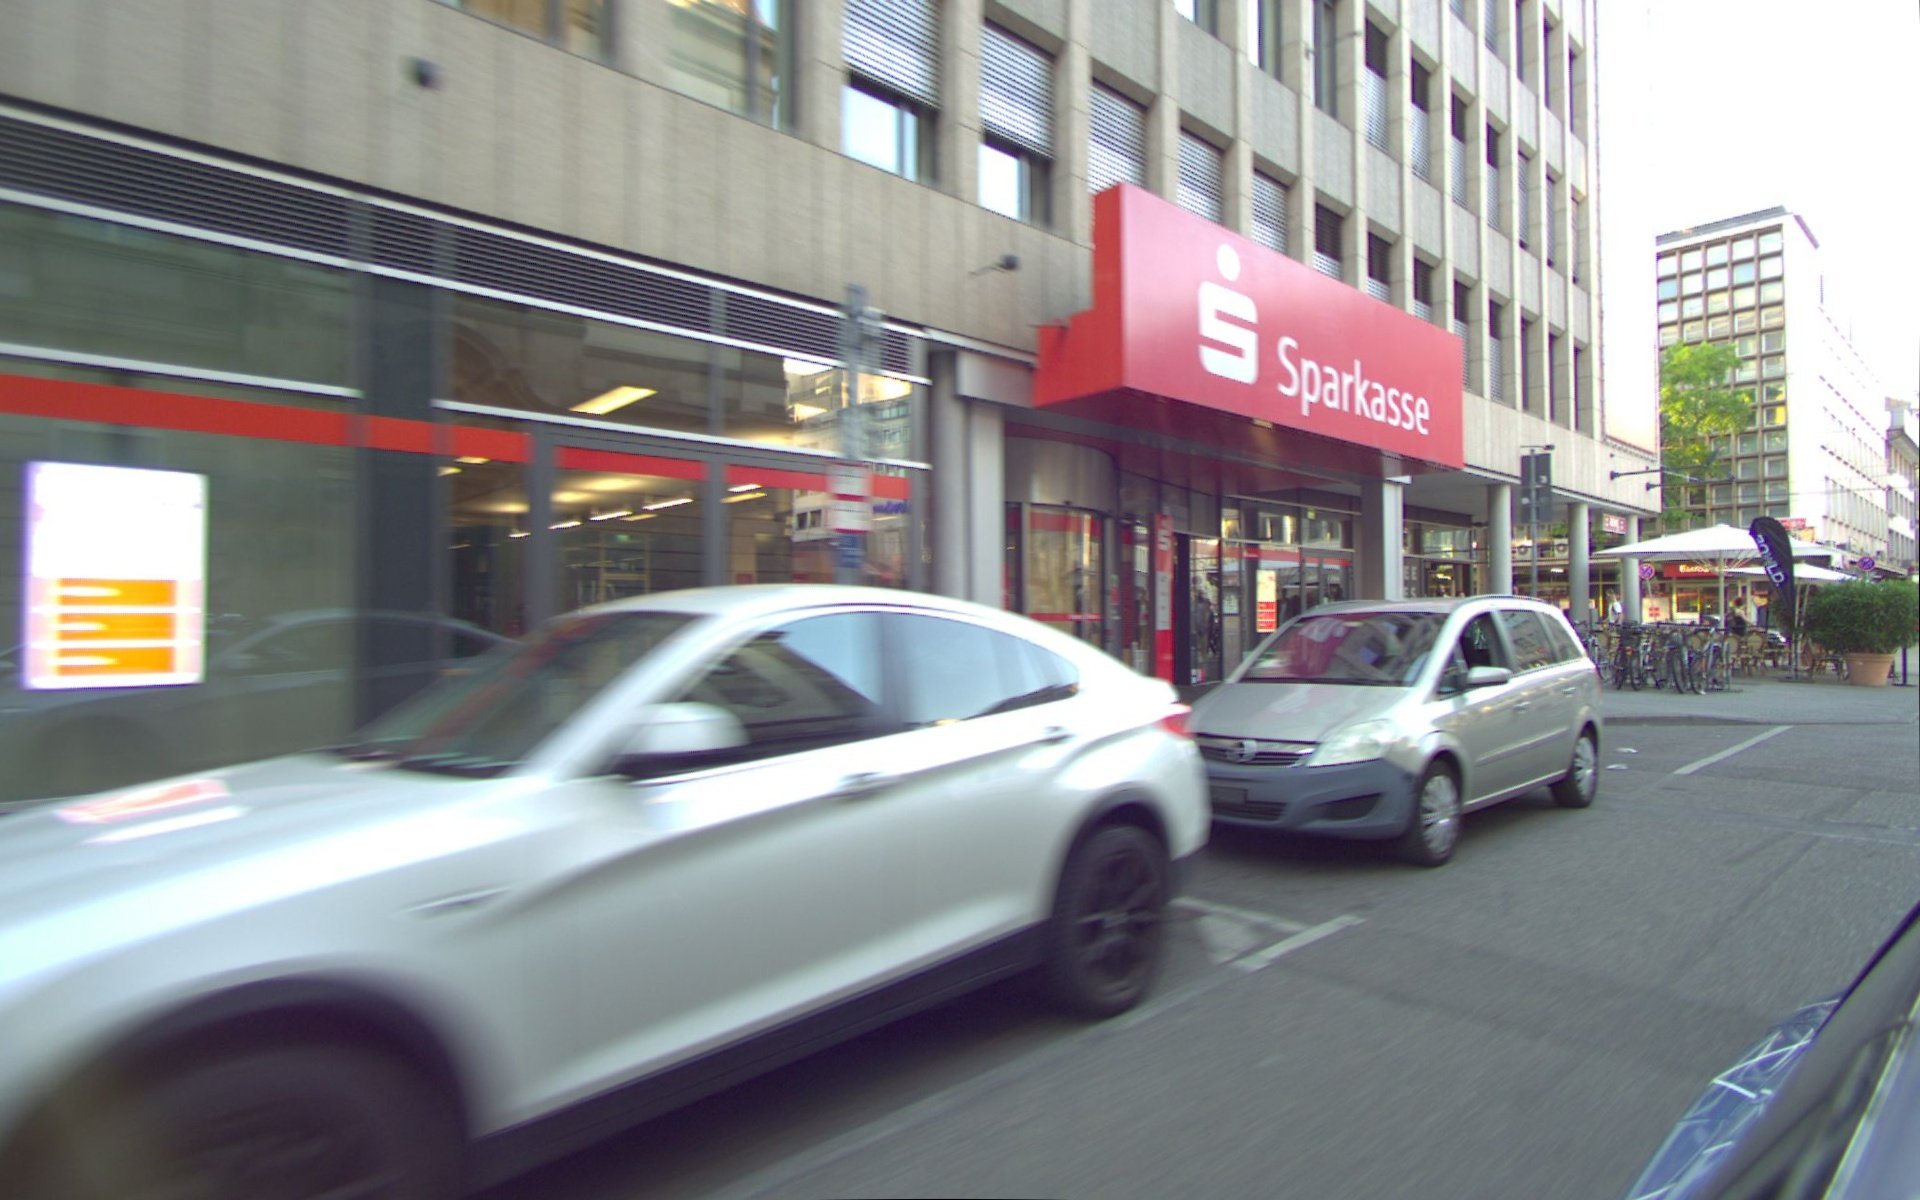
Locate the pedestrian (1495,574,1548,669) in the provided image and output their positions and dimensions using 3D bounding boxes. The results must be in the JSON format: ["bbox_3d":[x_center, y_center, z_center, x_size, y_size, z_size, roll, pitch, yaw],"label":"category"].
[{"bbox_3d":[11.788,0.442,21.260,0.675,1.943,0.798,1,-1,-42],"label":"pedestrian"}]

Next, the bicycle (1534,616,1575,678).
[{"bbox_3d":[10.803,0.830,18.365,0.381,1.046,1.838,0,-1,38],"label":"bicycle"}]

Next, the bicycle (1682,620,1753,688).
[{"bbox_3d":[12.343,0.854,16.470,1.828,1.046,0.330,0,-1,-34],"label":"bicycle"}]

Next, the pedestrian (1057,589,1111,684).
[{"bbox_3d":[2.252,0.656,18.411,0.686,1.683,0.720,-2,-2,37],"label":"pedestrian"}]

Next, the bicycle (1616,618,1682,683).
[{"bbox_3d":[11.747,0.843,17.230,1.829,1.046,0.383,0,-1,-38],"label":"bicycle"}]

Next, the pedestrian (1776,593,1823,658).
[{"bbox_3d":[20.924,0.622,25.236,0.756,1.585,0.795,1,-1,-42],"label":"pedestrian"}]

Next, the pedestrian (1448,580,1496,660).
[{"bbox_3d":[11.664,0.450,23.059,0.676,1.784,0.797,1,-1,-45],"label":"pedestrian"}]

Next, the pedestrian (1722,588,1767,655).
[{"bbox_3d":[20.295,0.549,26.195,0.789,1.710,0.761,0,-1,29],"label":"pedestrian"}]

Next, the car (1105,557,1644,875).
[{"bbox_3d":[3.250,0.637,7.372,4.632,1.619,1.742,0,-3,-42],"label":"car"}]

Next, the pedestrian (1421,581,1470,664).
[{"bbox_3d":[10.751,0.488,22.405,0.676,1.784,0.798,1,-1,-44],"label":"pedestrian"}]

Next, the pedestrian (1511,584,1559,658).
[{"bbox_3d":[14.124,0.513,24.872,0.785,1.784,0.687,0,-1,1],"label":"pedestrian"}]

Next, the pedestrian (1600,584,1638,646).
[{"bbox_3d":[18.341,0.416,28.185,0.789,1.710,0.762,0,-1,28],"label":"pedestrian"}]

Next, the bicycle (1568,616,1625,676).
[{"bbox_3d":[11.767,0.835,18.685,1.831,1.046,0.382,0,-1,-41],"label":"bicycle"}]

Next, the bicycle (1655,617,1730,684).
[{"bbox_3d":[12.151,0.819,16.765,1.828,1.046,0.383,0,-1,-34],"label":"bicycle"}]

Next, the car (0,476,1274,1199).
[{"bbox_3d":[-0.939,0.654,3.467,4.734,1.687,1.777,-1,-2,-44],"label":"car"}]
